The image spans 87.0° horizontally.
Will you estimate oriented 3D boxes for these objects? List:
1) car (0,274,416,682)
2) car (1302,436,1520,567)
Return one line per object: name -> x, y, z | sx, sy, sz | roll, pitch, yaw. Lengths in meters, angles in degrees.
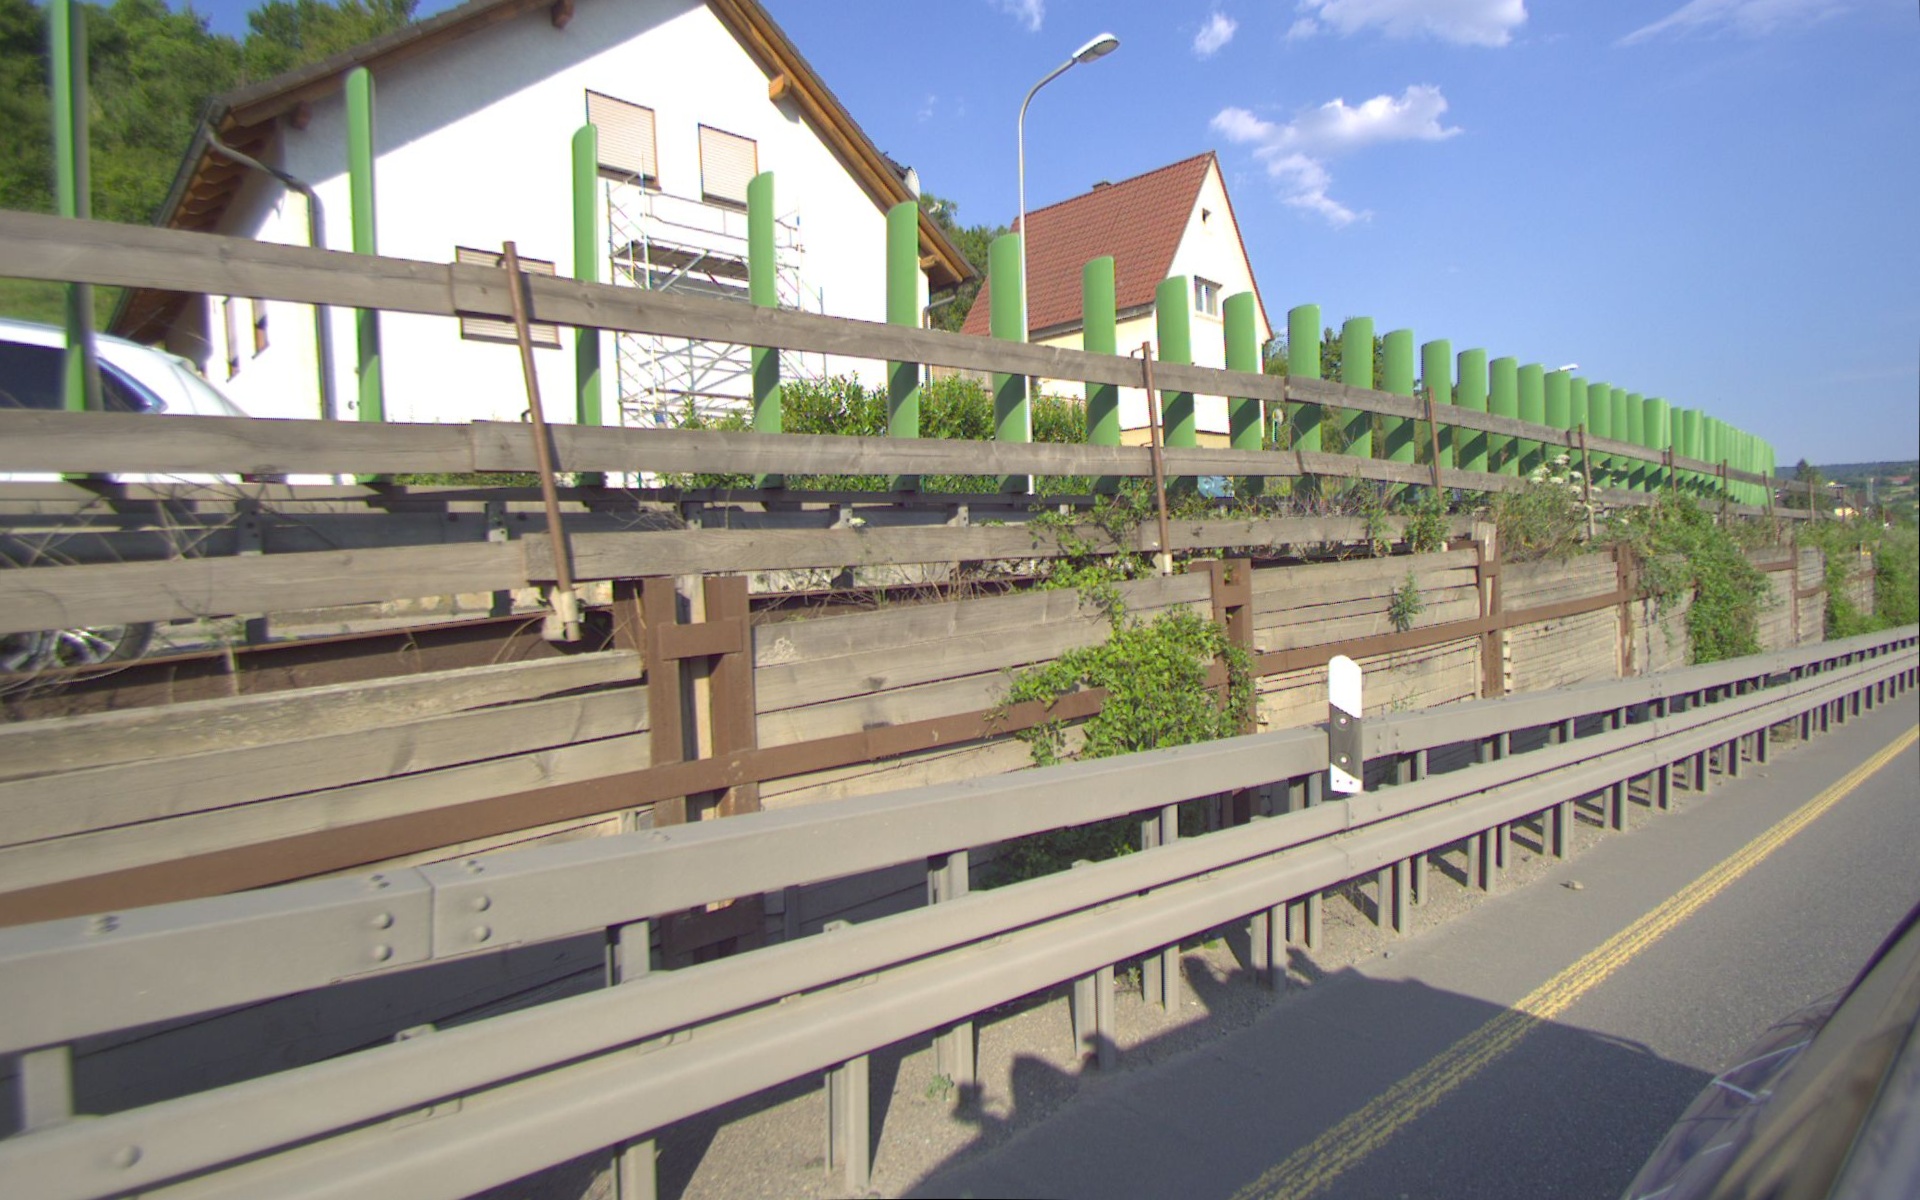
car -> -5.072, -0.477, 4.274 | 4.574, 1.678, 1.699 | -4, 3, -44
car -> 7.767, -1.542, 17.259 | 4.175, 1.835, 1.884 | -1, -1, -43
